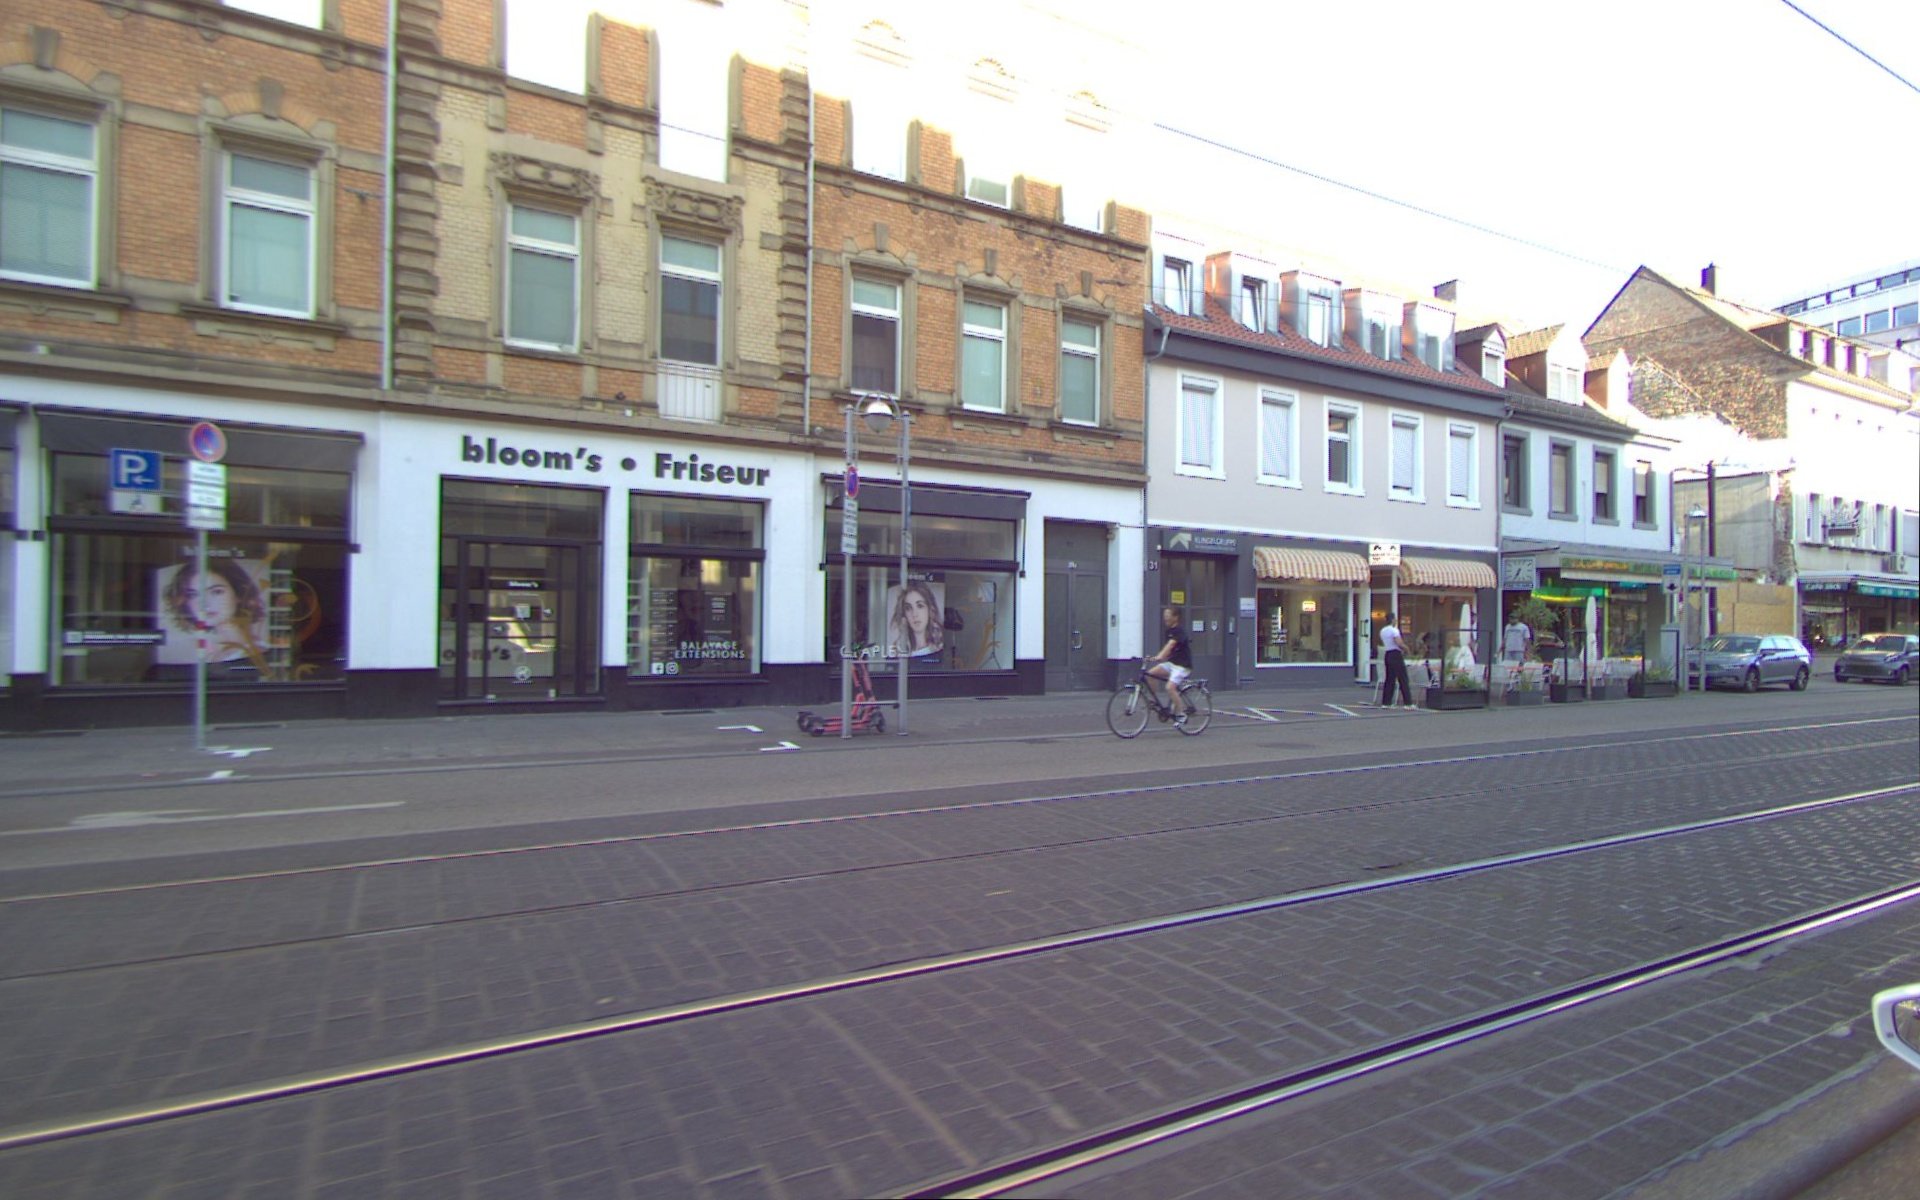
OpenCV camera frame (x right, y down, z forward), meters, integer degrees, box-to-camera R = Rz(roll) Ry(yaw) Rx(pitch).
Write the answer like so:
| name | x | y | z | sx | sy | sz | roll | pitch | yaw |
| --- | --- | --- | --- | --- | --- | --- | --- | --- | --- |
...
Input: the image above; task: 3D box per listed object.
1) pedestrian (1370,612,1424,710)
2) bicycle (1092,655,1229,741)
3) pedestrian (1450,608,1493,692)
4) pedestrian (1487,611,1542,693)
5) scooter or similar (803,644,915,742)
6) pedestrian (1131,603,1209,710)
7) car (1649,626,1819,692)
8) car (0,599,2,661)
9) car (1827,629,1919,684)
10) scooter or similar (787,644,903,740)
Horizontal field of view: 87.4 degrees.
| name | x | y | z | sx | sy | sz | roll | pitch | yaw |
| --- | --- | --- | --- | --- | --- | --- | --- | --- | --- |
| pedestrian | 8.280 | 1.142 | 19.044 | 0.608 | 1.799 | 0.713 | 1 | -1 | -29 |
| bicycle | 2.832 | 1.345 | 14.121 | 1.927 | 1.130 | 0.576 | 1 | -1 | -26 |
| pedestrian | 11.574 | 1.122 | 22.726 | 0.636 | 1.847 | 0.652 | 1 | -1 | -35 |
| pedestrian | 12.556 | 1.160 | 22.757 | 0.680 | 1.799 | 0.881 | 1 | -1 | -31 |
| scooter or similar | -1.333 | 1.213 | 13.399 | 1.461 | 1.218 | 0.362 | 1 | 1 | -33 |
| pedestrian | 2.961 | 0.788 | 14.180 | 0.862 | 1.463 | 0.622 | 2 | -1 | -25 |
| car | 20.664 | 1.583 | 26.771 | 4.702 | 1.552 | 1.984 | 3 | -1 | -31 |
| car | -8.451 | 0.718 | 5.517 | 4.211 | 1.615 | 1.882 | 2 | -3 | -30 |
| car | 29.121 | 1.751 | 31.497 | 3.696 | 1.566 | 1.668 | 1 | 1 | -28 |
| scooter or similar | -1.571 | 1.235 | 13.822 | 1.461 | 1.218 | 0.576 | 1 | 1 | -33 |
